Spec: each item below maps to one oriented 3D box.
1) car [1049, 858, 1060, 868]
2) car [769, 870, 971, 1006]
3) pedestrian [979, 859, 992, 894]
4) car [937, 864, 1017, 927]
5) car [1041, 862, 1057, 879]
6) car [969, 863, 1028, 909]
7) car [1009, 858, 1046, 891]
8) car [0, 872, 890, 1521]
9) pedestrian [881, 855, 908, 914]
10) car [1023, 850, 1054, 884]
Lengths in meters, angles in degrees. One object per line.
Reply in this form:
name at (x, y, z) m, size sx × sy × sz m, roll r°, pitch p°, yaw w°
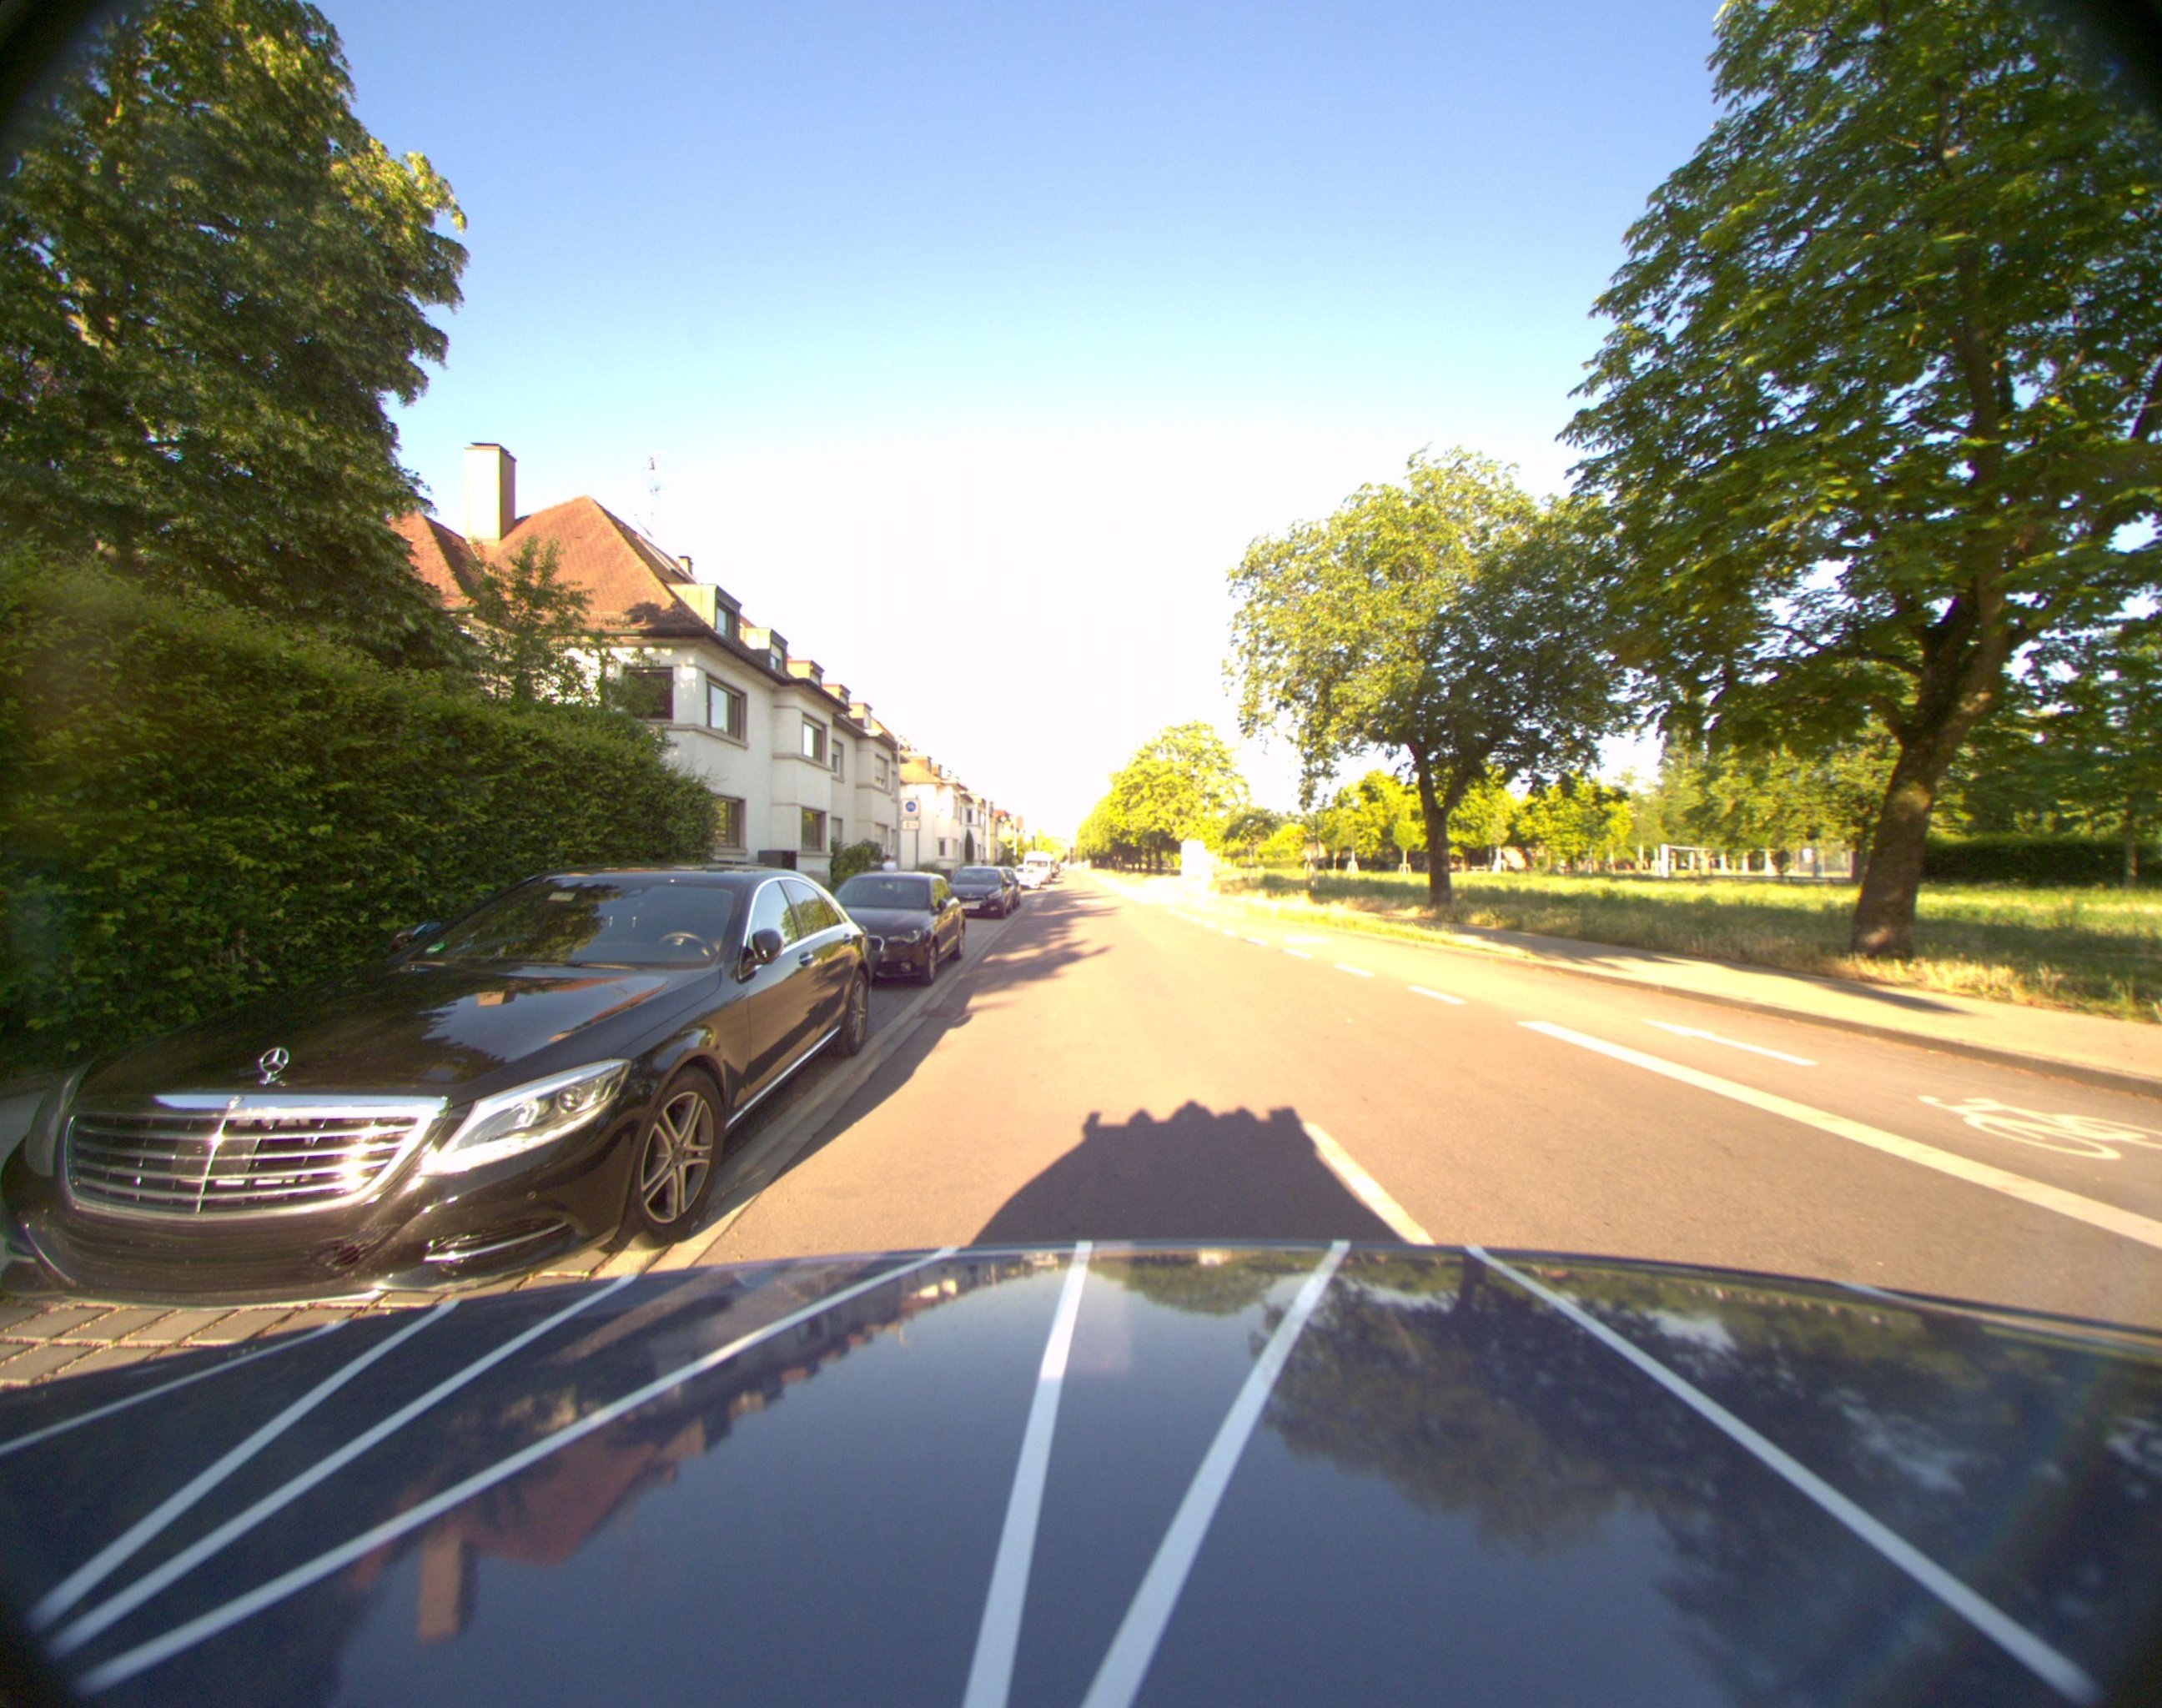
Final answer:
car at (-4.106, 1.408, 117.193) m, size 1.682 × 1.543 × 3.842 m, roll 1°, pitch 0°, yaw -3°
car at (-2.723, 1.007, 10.772) m, size 1.784 × 1.469 × 4.000 m, roll -2°, pitch -1°, yaw -1°
pedestrian at (-4.959, 1.174, 39.357) m, size 0.531 × 1.787 × 0.589 m, roll -2°, pitch 1°, yaw -2°
car at (-2.914, 1.118, 22.026) m, size 1.796 × 1.586 × 4.077 m, roll -2°, pitch -1°, yaw -1°
car at (-3.697, 1.927, 88.942) m, size 1.708 × 1.848 × 3.712 m, roll -2°, pitch 1°, yaw 0°
car at (-2.932, 1.119, 27.696) m, size 1.680 × 1.525 × 3.472 m, roll -2°, pitch -1°, yaw 1°
car at (-3.220, 1.207, 46.671) m, size 1.999 × 1.775 × 3.999 m, roll -2°, pitch 1°, yaw -1°
car at (-2.604, 0.913, 4.324) m, size 2.009 × 1.489 × 4.914 m, roll 2°, pitch 0°, yaw -3°
pedestrian at (-5.979, 0.971, 24.363) m, size 0.587 × 1.835 × 0.823 m, roll -2°, pitch 1°, yaw 1°
car at (-3.276, 0.980, 59.774) m, size 2.132 × 2.461 × 5.723 m, roll -2°, pitch 1°, yaw -1°
